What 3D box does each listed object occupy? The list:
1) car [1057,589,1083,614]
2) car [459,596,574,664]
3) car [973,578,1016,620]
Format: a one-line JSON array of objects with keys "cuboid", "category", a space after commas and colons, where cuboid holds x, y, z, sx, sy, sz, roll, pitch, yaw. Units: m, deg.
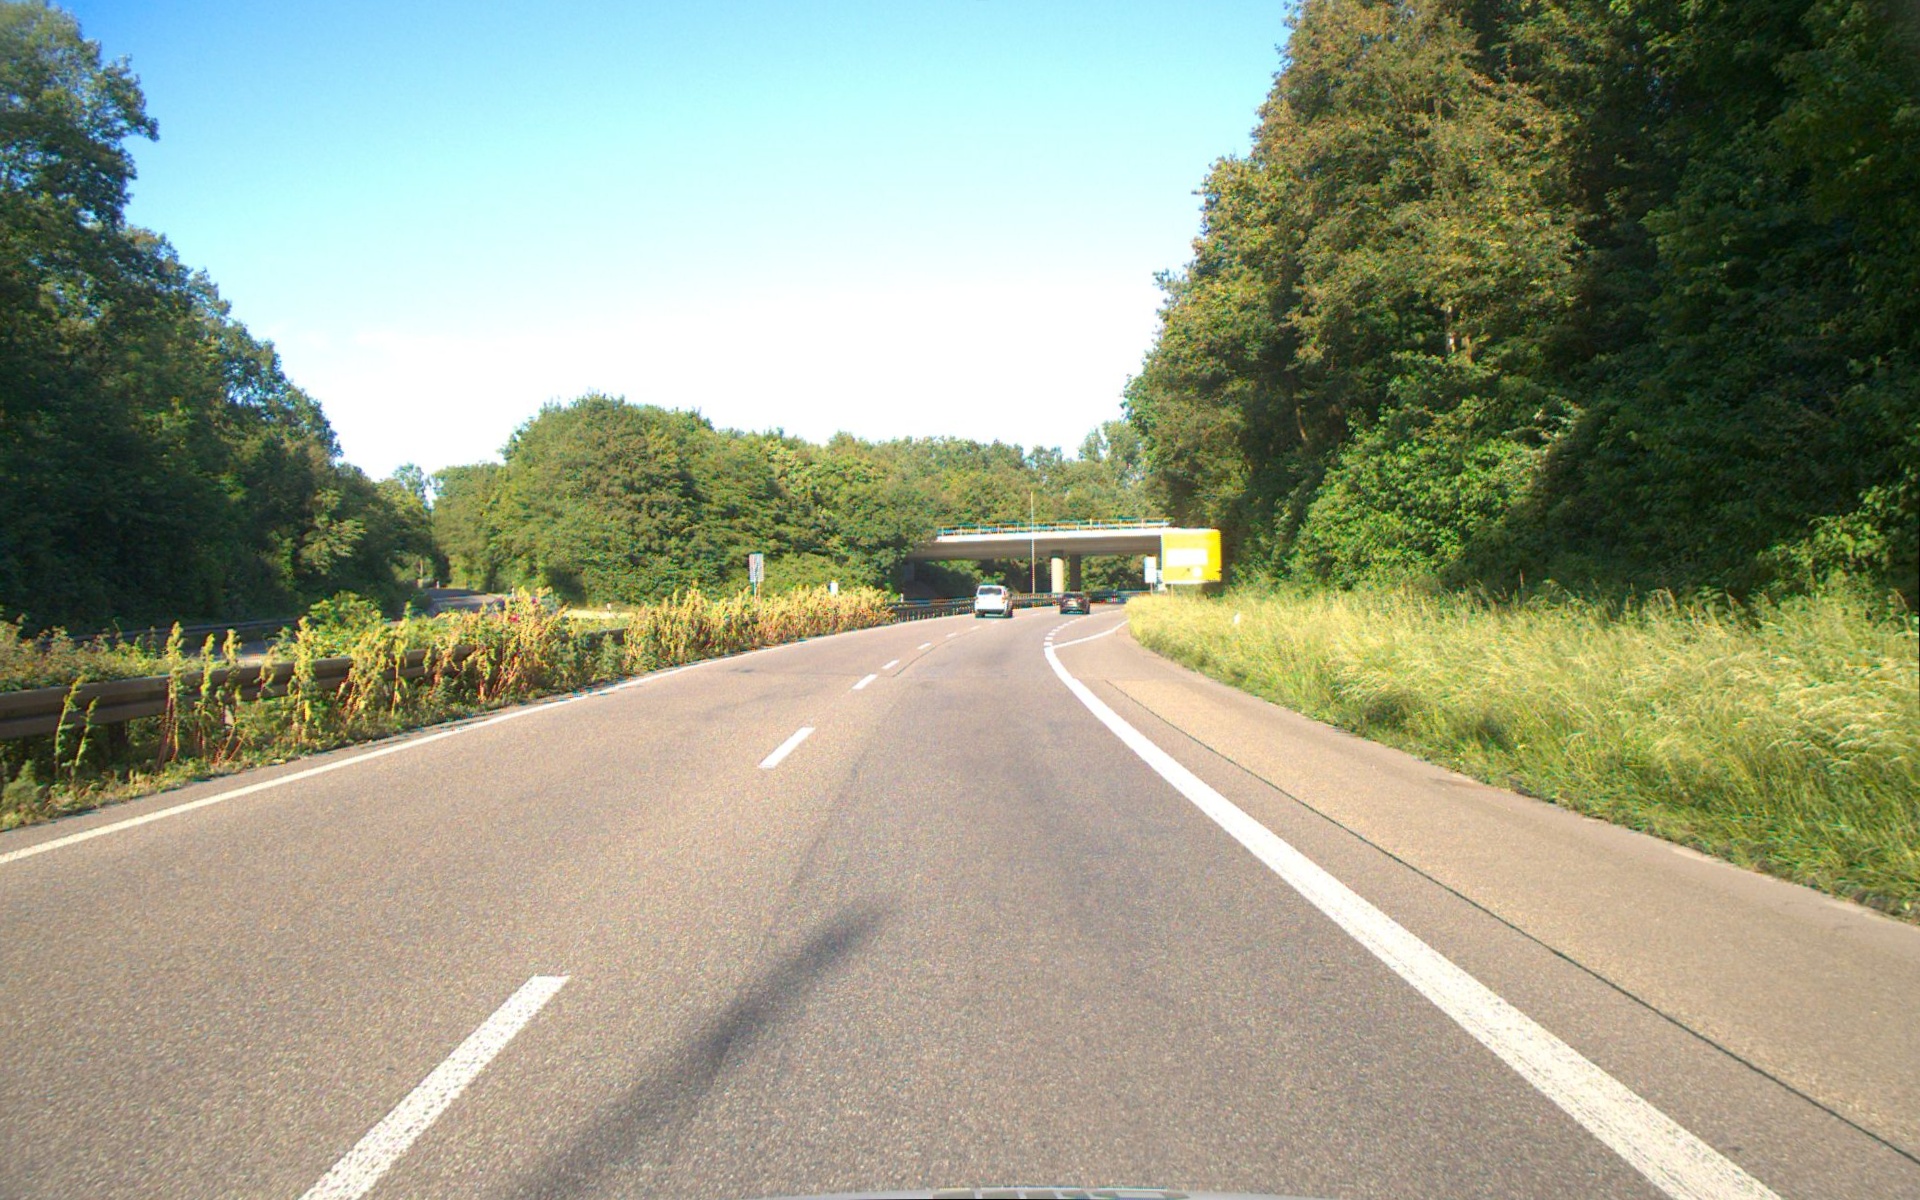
[{"cuboid": [7.359, 0.086, 110.955, 1.703, 1.691, 3.947, -1, 0, 3], "category": "car"}, {"cuboid": [-14.083, 0.911, 52.798, 2.003, 2.049, 4.764, 1, 0, 5], "category": "car"}, {"cuboid": [1.947, -0.077, 92.881, 1.951, 2.317, 4.003, -1, 0, 7], "category": "car"}]
